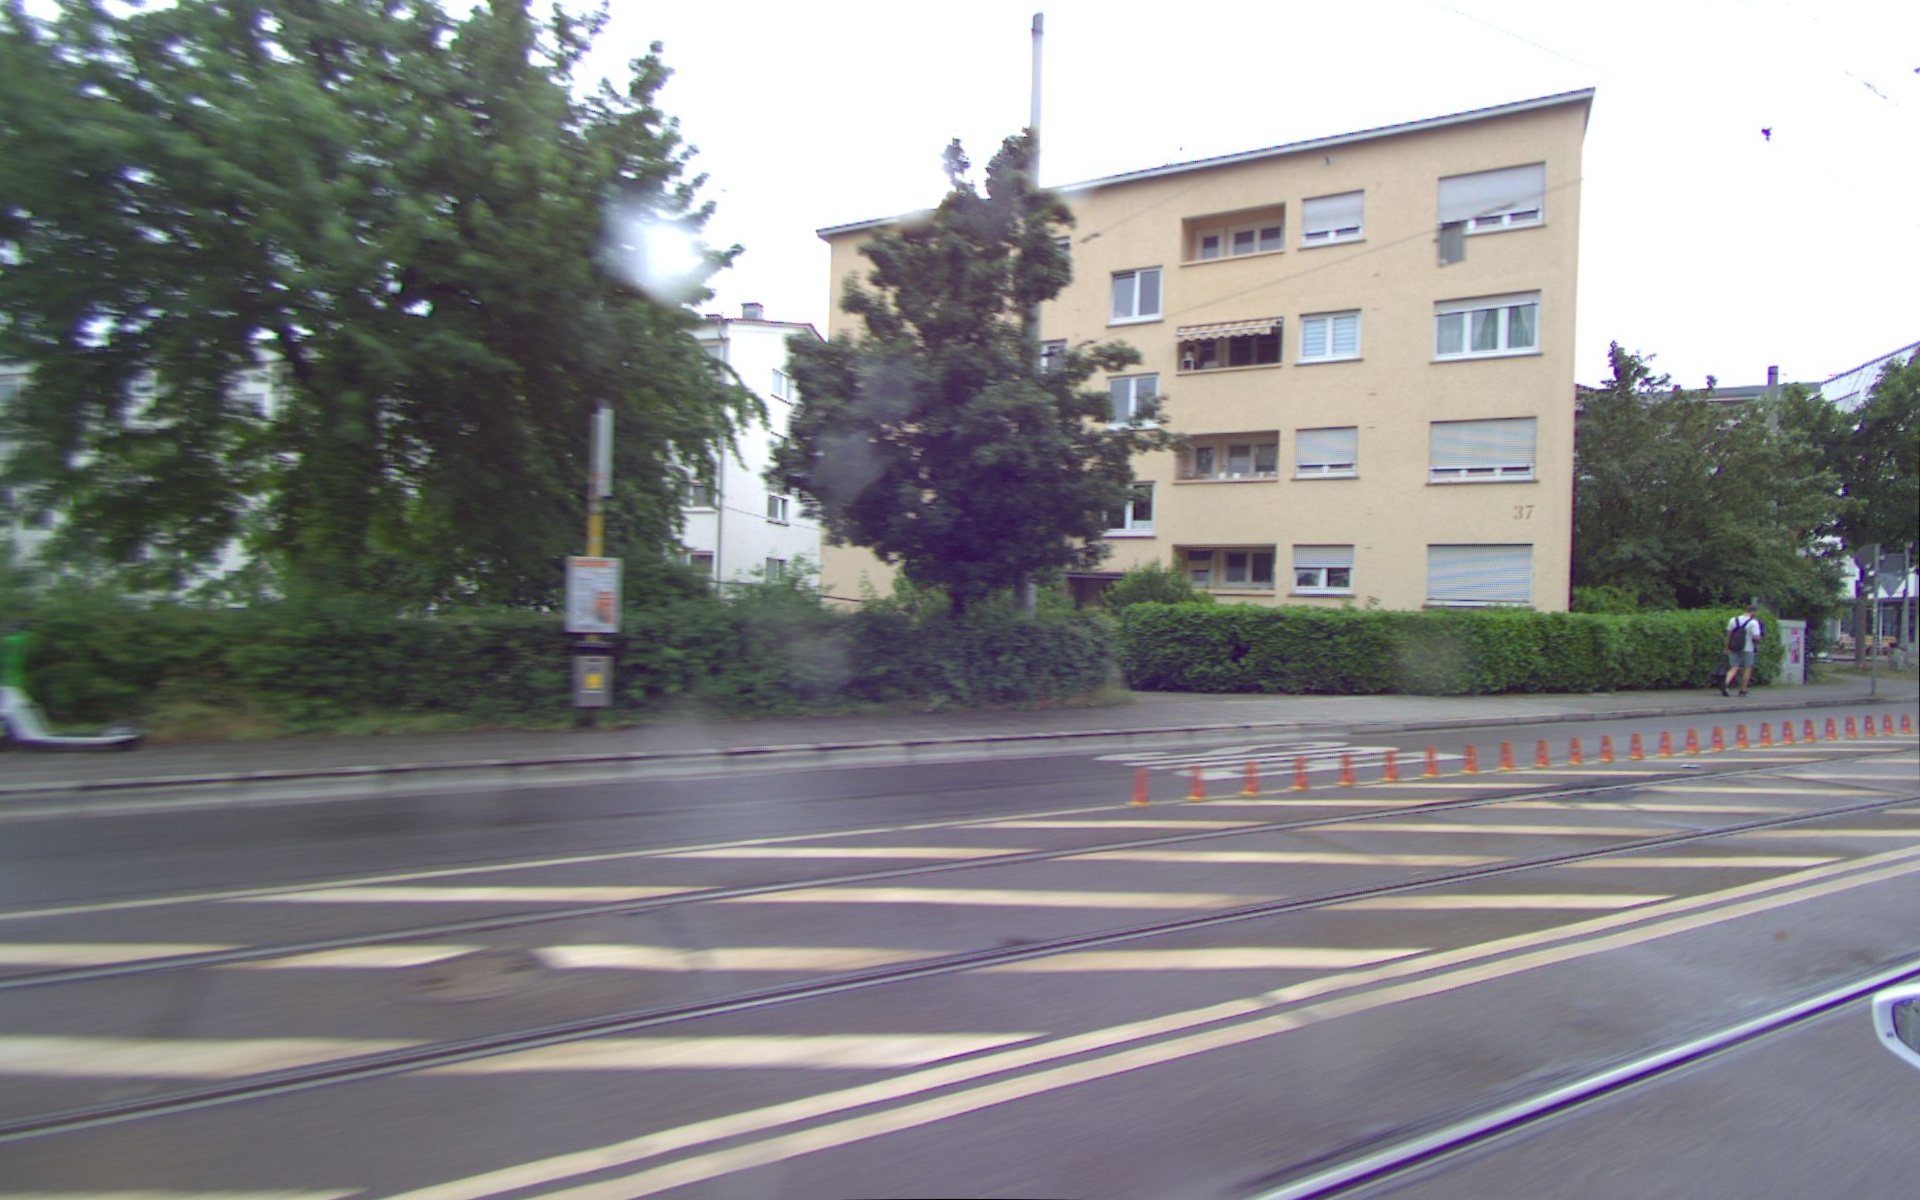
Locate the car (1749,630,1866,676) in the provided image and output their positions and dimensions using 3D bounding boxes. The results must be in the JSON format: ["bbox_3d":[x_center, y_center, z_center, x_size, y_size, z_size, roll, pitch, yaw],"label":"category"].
[{"bbox_3d":[32.598,1.999,38.784,1.960,1.500,4.162,2,0,18],"label":"car"}]

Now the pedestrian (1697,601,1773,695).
[{"bbox_3d":[16.155,0.985,20.935,1.006,1.870,0.913,2,1,-33],"label":"pedestrian"}]

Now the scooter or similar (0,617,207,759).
[{"bbox_3d":[-7.857,0.785,9.044,1.575,1.200,0.572,2,0,-19],"label":"scooter or similar"}]
